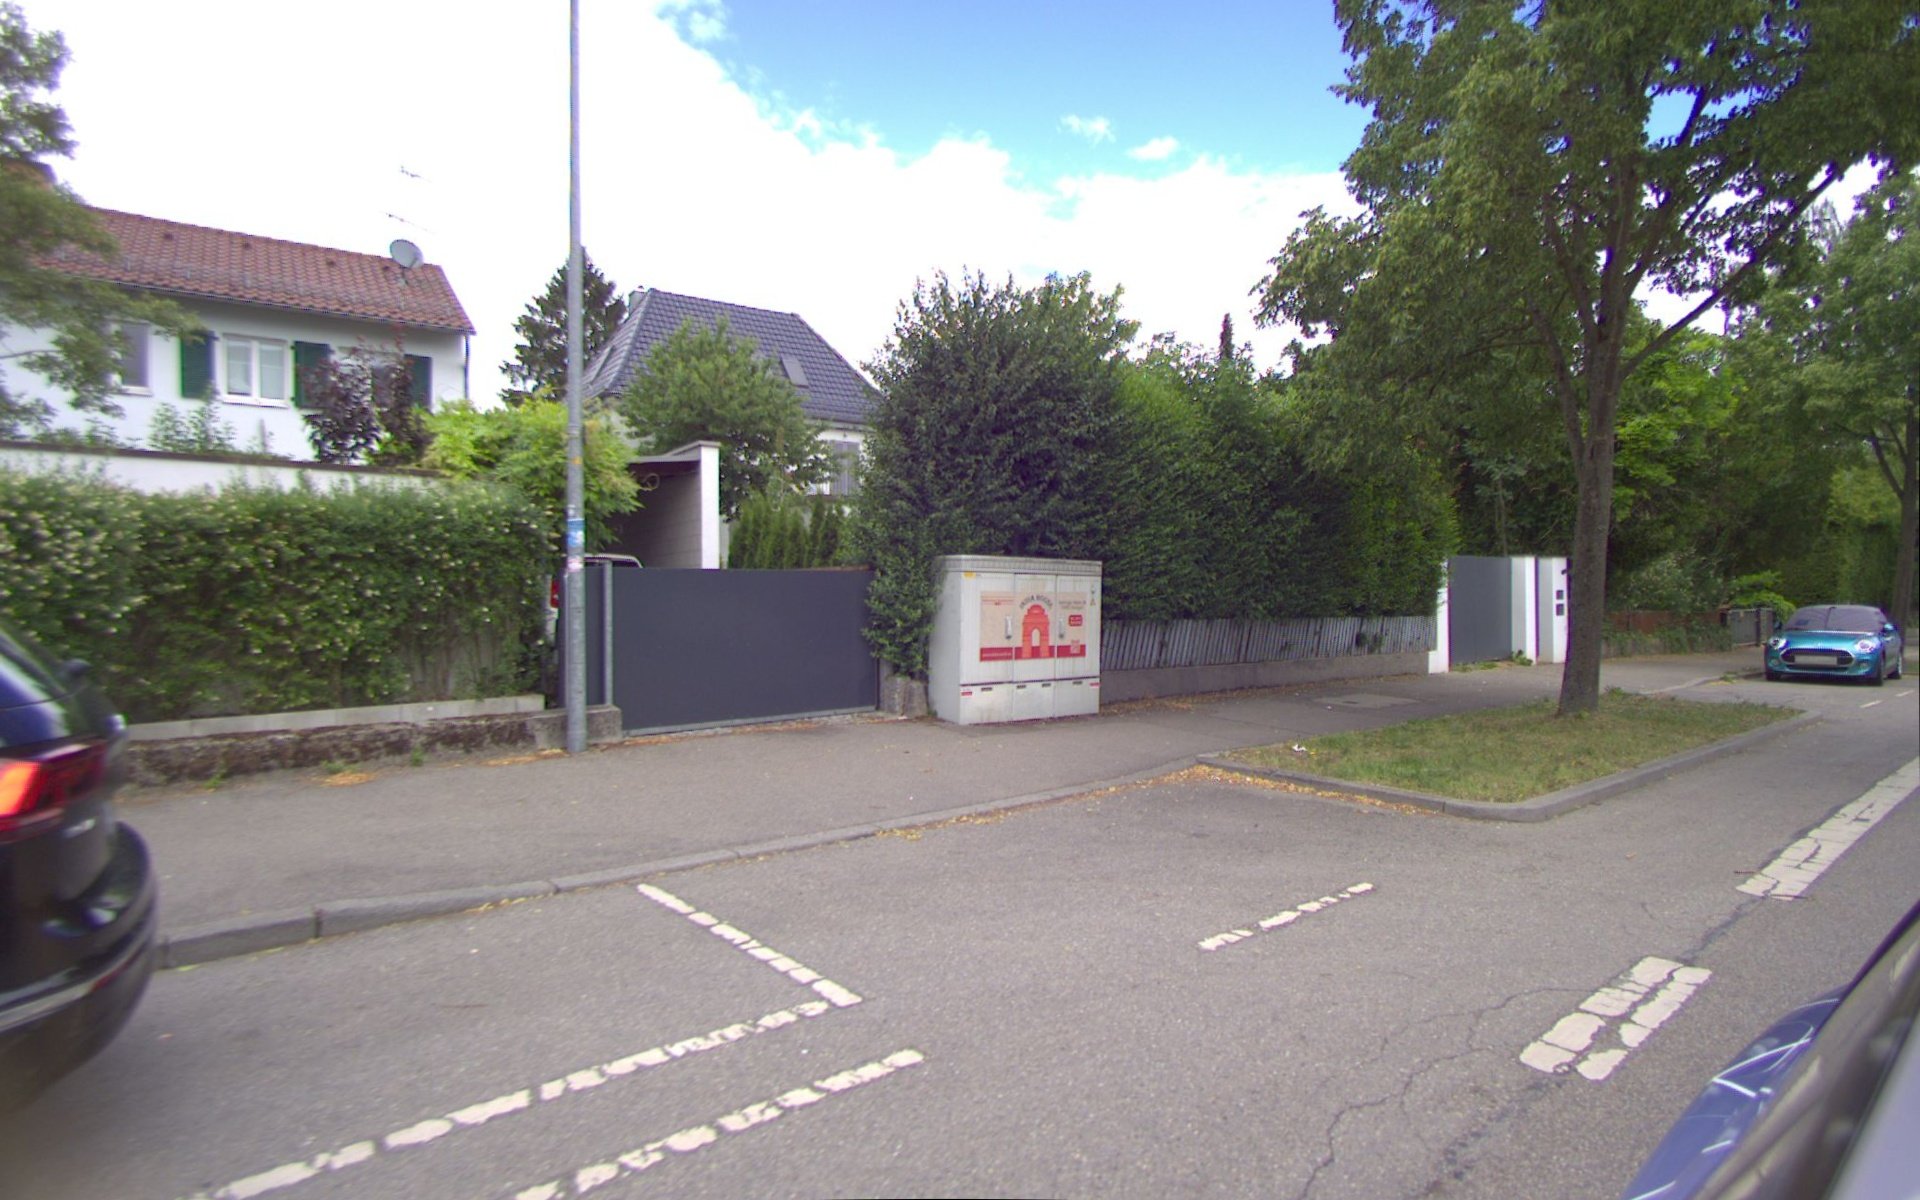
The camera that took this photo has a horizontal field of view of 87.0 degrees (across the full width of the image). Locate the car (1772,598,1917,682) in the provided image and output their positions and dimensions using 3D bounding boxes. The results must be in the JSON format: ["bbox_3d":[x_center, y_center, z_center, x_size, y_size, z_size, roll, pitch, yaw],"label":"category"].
[{"bbox_3d":[16.957,0.685,19.346,3.595,1.424,1.665,0,1,-42],"label":"car"}]

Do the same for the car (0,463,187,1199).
[{"bbox_3d":[-3.949,0.546,1.422,4.468,1.657,1.769,0,0,-41],"label":"car"}]
